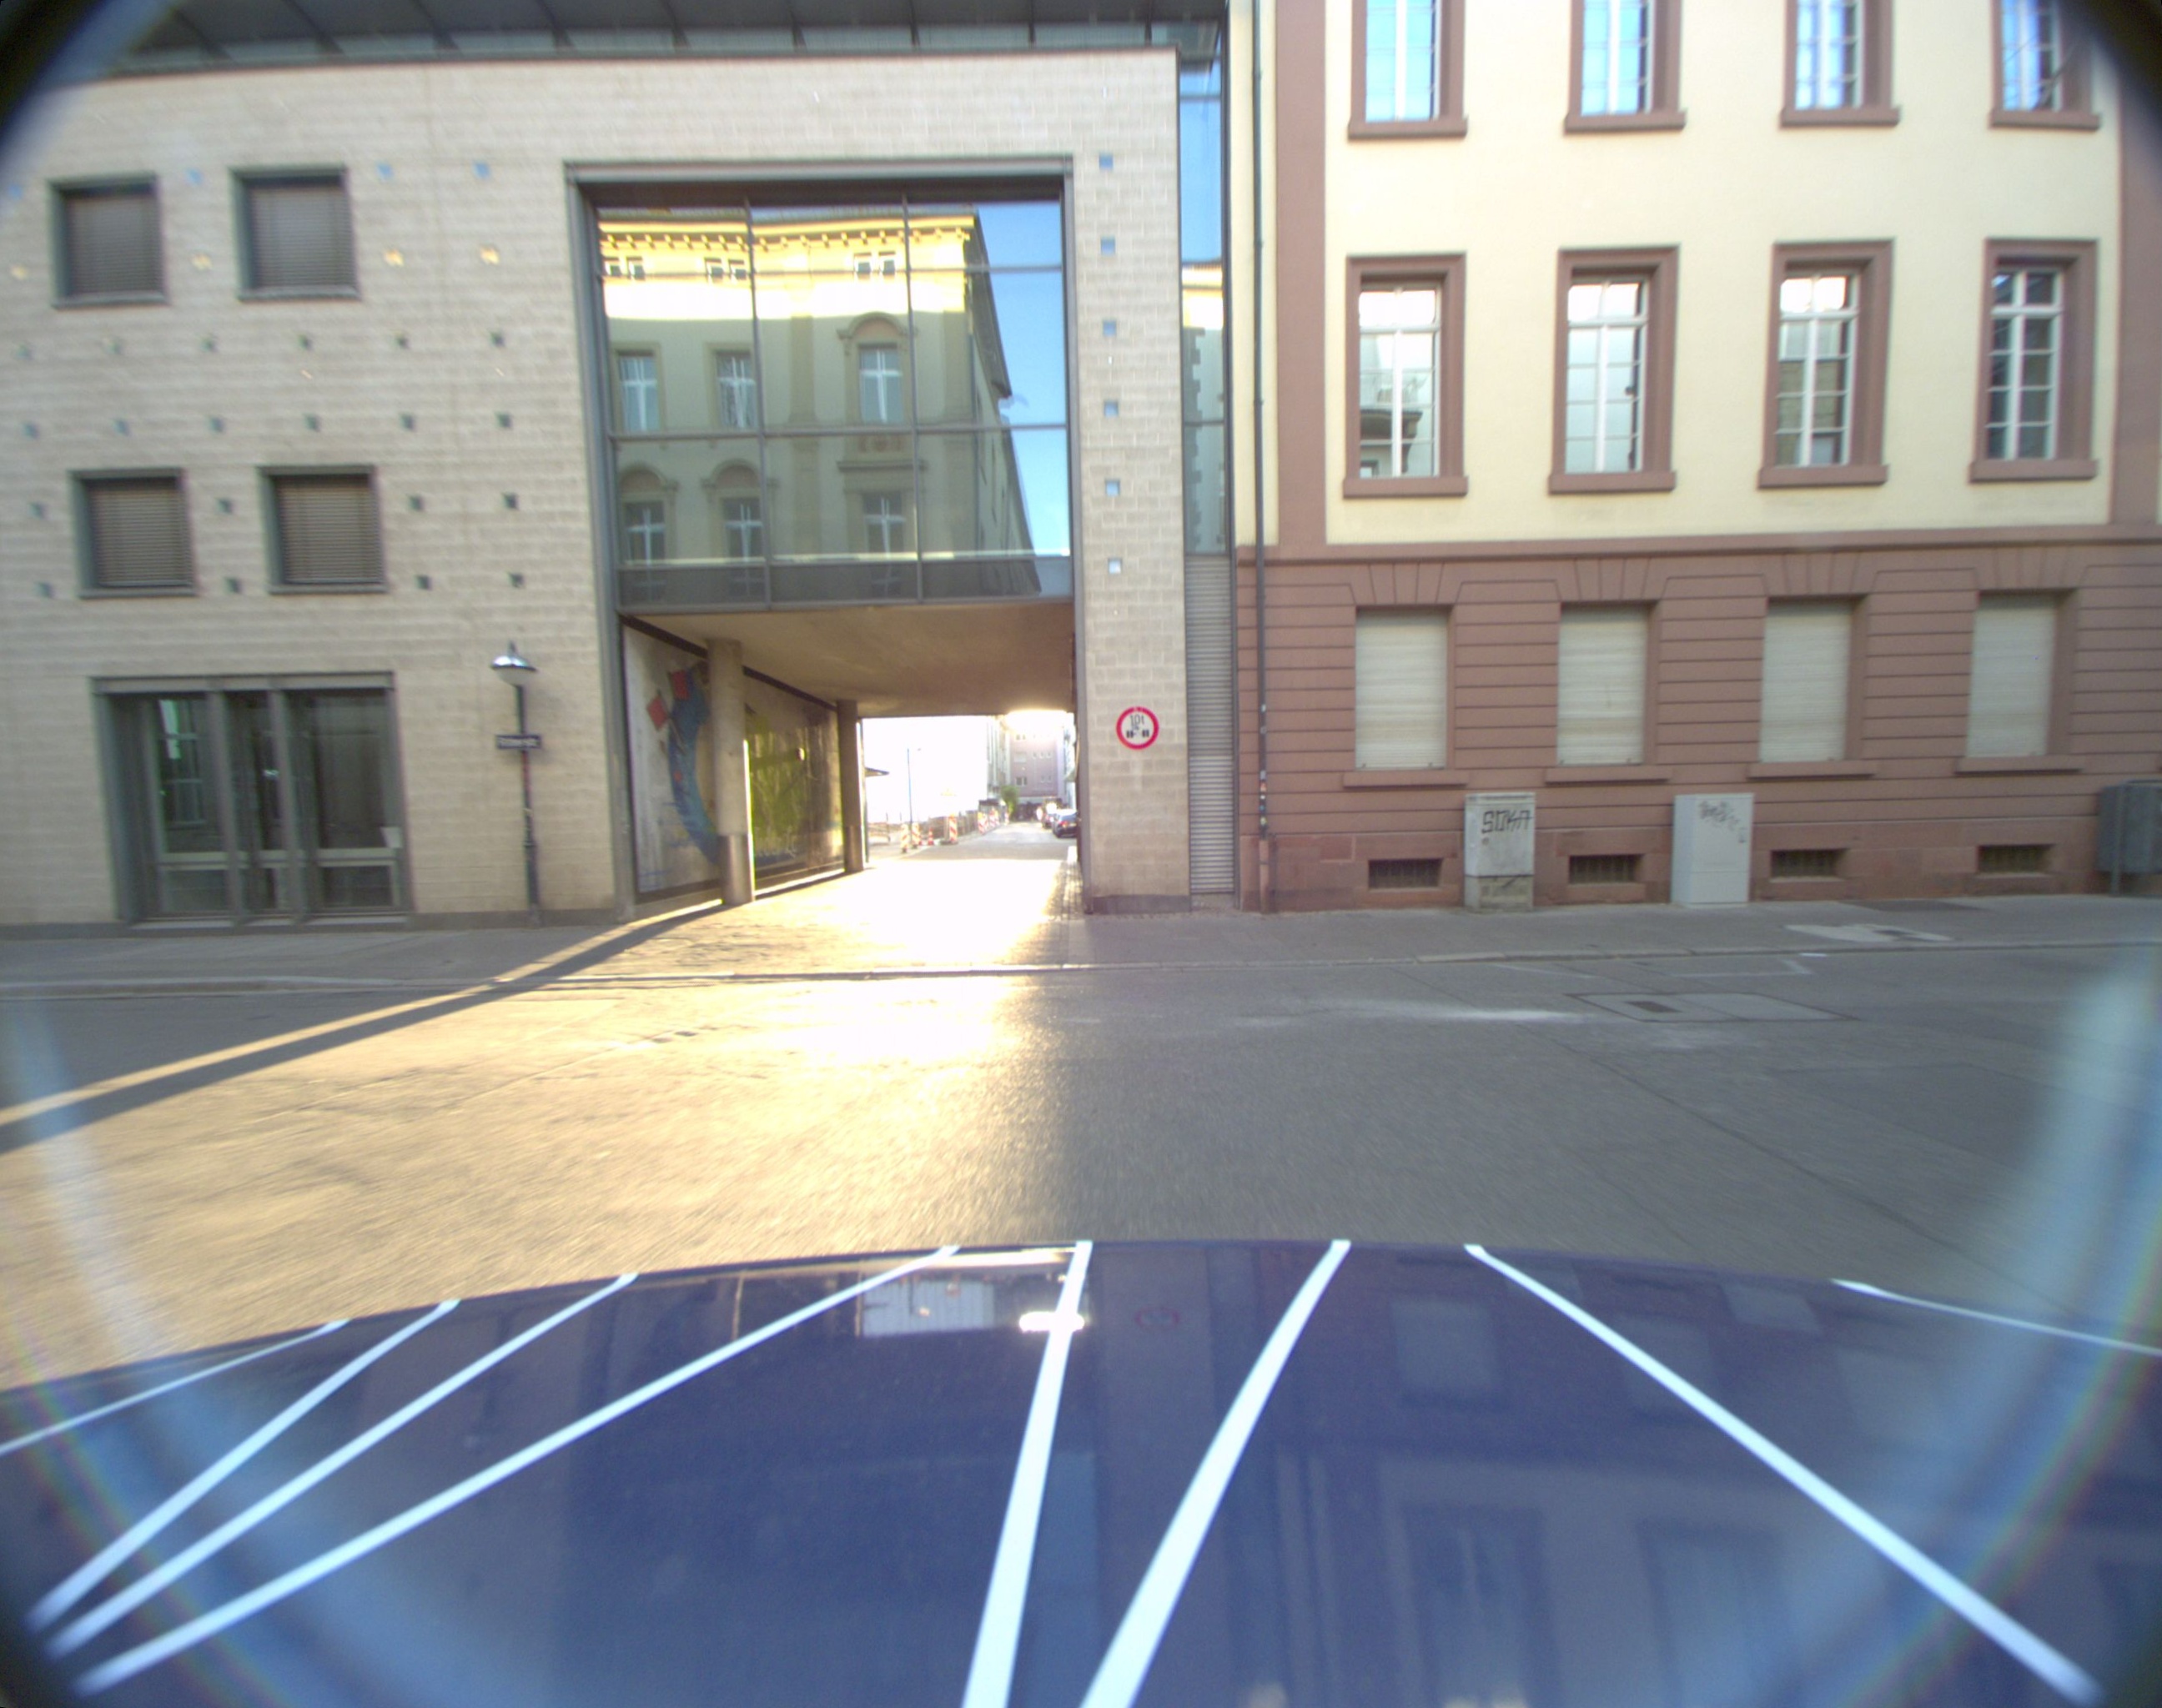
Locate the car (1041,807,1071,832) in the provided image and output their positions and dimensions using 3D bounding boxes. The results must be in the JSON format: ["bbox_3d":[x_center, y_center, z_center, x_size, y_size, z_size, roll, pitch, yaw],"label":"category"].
[{"bbox_3d":[-1.692,-2.281,49.839,1.602,1.485,3.439,-2,5,-8],"label":"car"}]

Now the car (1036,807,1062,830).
[{"bbox_3d":[-2.365,-2.627,55.680,1.602,1.485,3.439,-2,5,-8],"label":"car"}]

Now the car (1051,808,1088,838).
[{"bbox_3d":[-0.645,-1.750,41.798,1.602,1.485,3.439,-2,5,-8],"label":"car"}]

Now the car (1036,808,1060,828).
[{"bbox_3d":[-2.657,-2.879,60.467,1.602,1.485,3.439,-2,5,-8],"label":"car"}]
